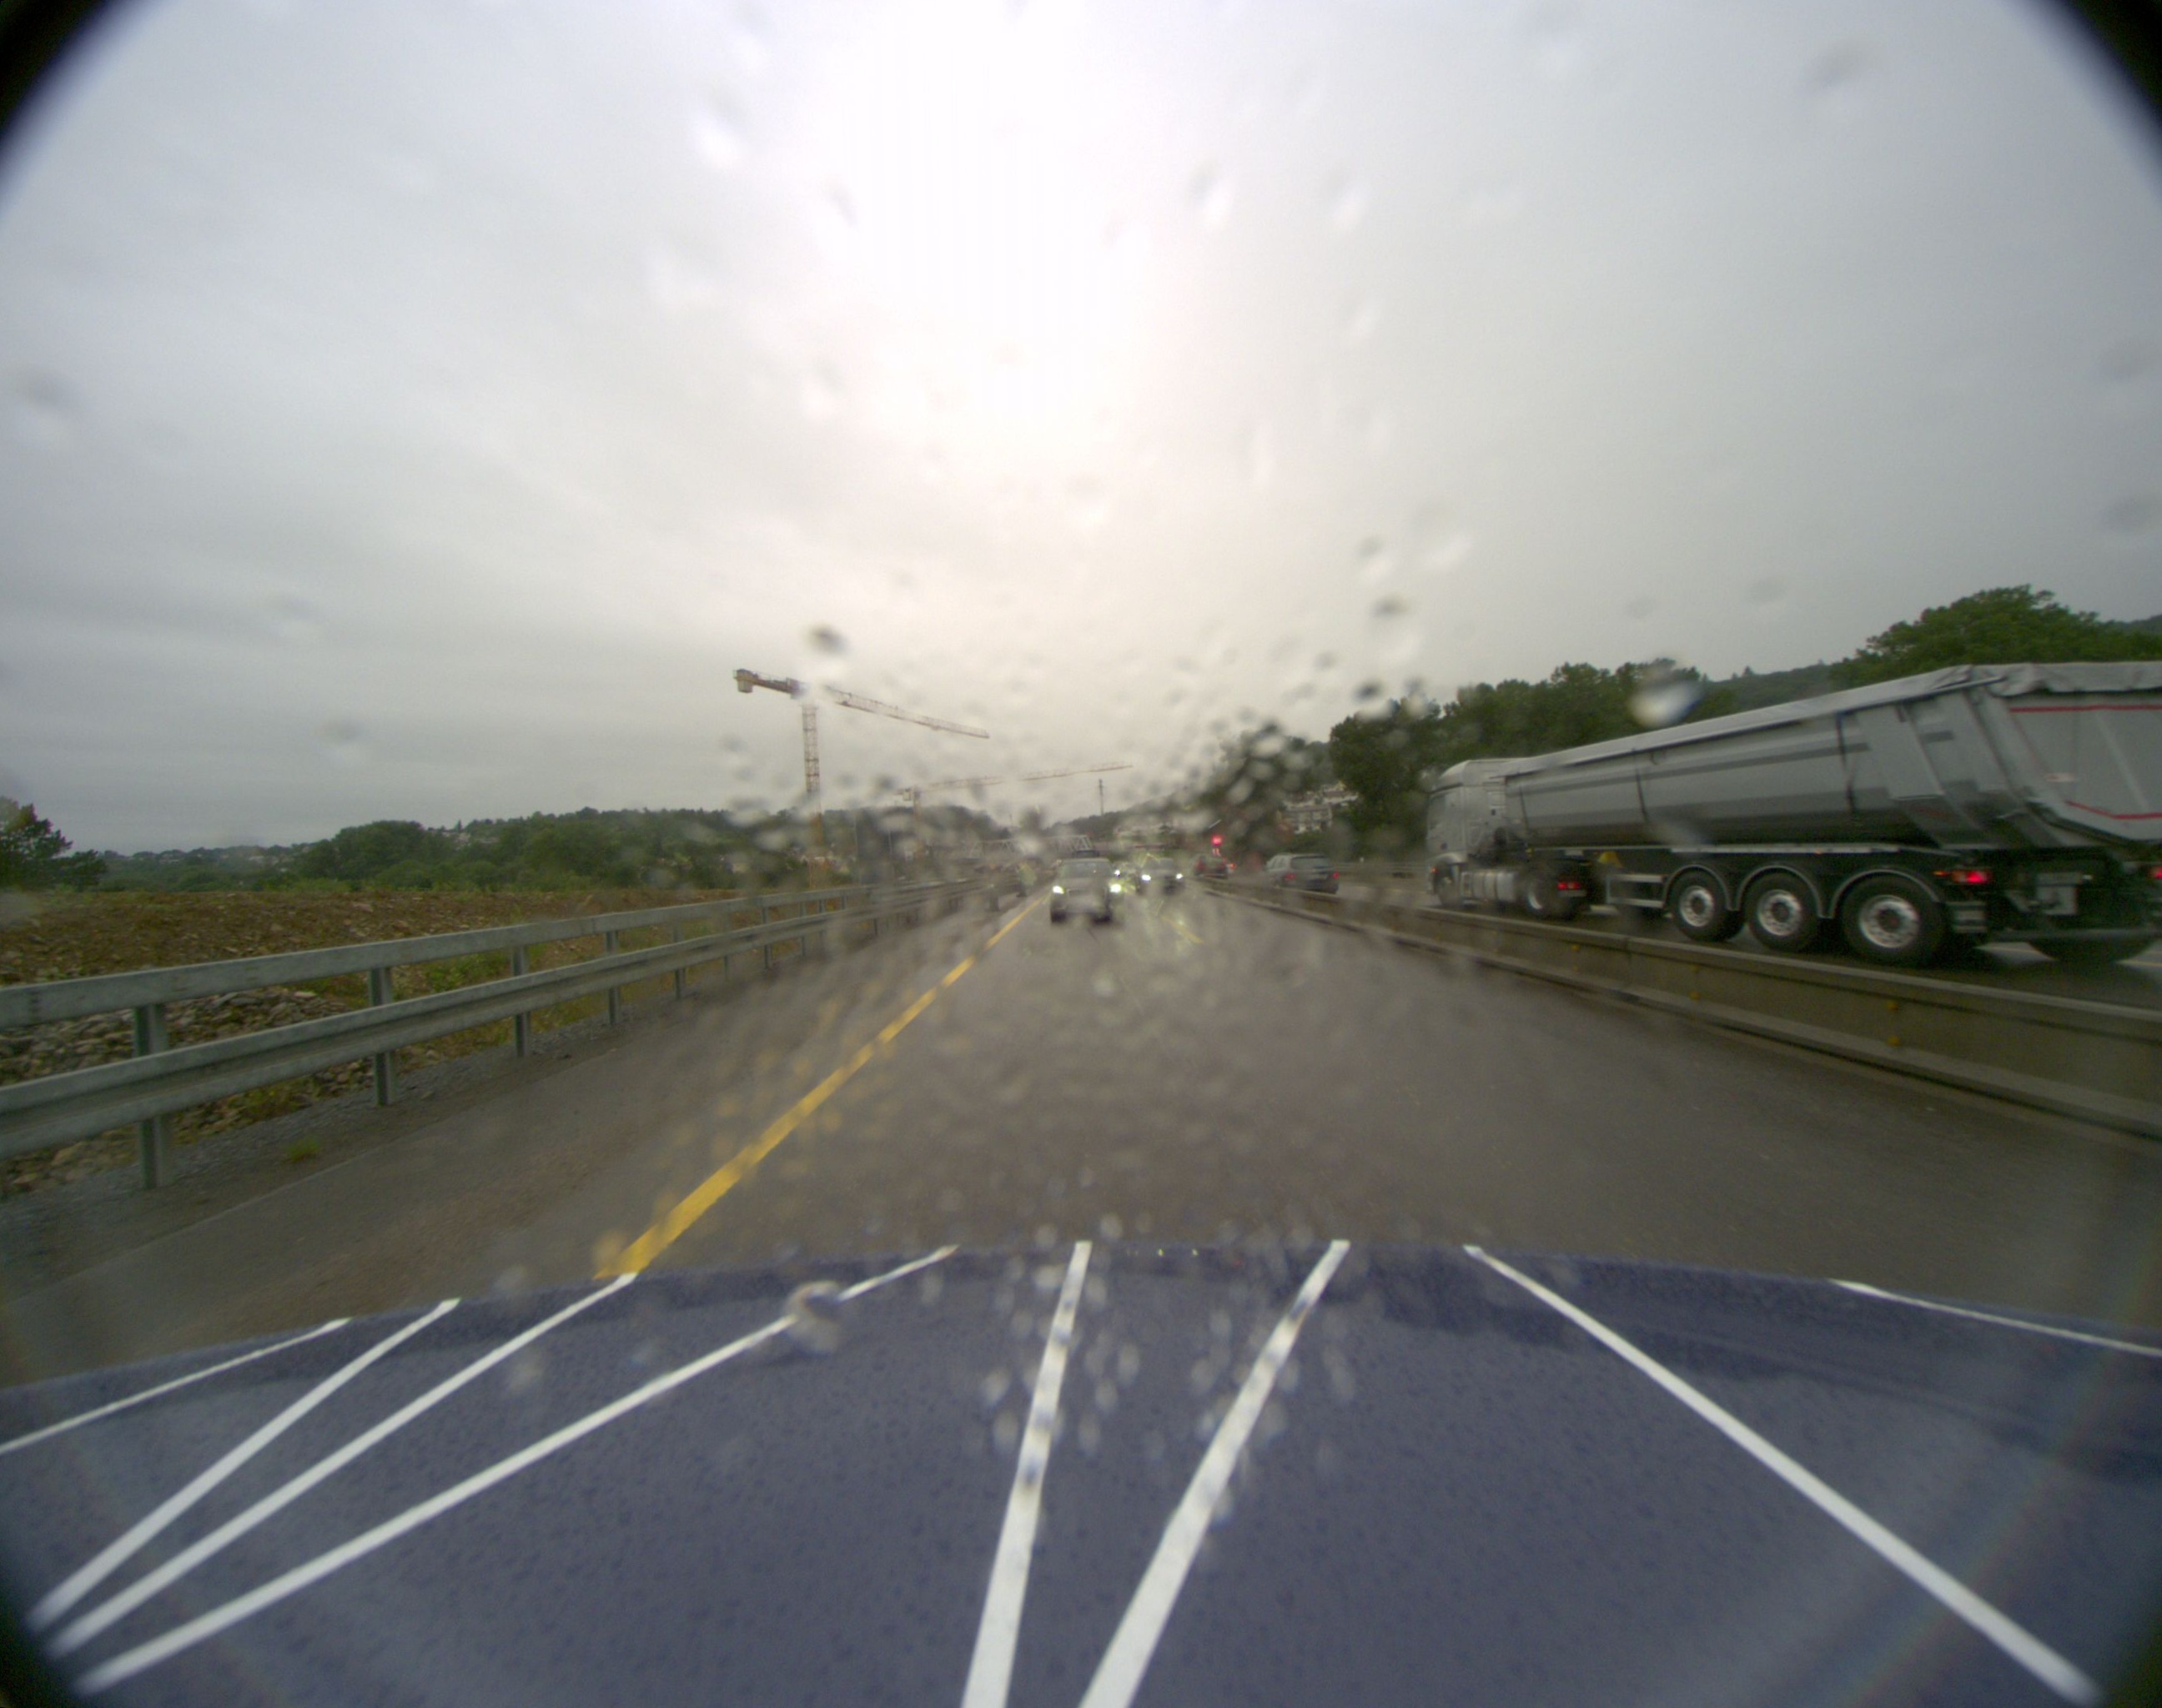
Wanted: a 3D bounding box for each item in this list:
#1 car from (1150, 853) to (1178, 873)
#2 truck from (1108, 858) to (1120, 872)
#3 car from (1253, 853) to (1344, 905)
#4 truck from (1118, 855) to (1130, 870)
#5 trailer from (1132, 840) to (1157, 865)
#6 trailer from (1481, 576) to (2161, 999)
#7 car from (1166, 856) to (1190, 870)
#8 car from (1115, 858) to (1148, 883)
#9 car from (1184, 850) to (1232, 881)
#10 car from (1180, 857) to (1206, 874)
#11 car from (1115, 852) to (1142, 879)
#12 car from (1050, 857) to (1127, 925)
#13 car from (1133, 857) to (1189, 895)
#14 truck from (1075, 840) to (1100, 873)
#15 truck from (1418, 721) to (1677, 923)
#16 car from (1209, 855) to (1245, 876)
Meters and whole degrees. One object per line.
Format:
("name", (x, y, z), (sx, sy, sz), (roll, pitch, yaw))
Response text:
("car", (7.425, 0.875, 68.487), (1.850, 1.737, 4.845), (0, -1, -1))
("truck", (7.706, 2.584, 178.410), (2.413, 2.976, 6.539), (-2, 0, 1))
("car", (6.829, 0.736, 24.235), (1.714, 1.445, 4.000), (-2, 0, 0))
("truck", (10.760, 2.145, 191.291), (2.608, 3.605, 6.539), (-2, 0, 1))
("trailer", (10.991, -0.171, 132.346), (3.285, 3.885, 13.701), (-2, -1, 1))
("trailer", (10.278, -0.620, 12.023), (2.693, 3.940, 9.819), (-1, 0, 0))
("car", (11.371, 1.109, 89.443), (1.999, 1.501, 4.746), (-2, -1, -2))
("car", (3.151, 0.989, 47.757), (1.781, 1.430, 4.484), (-2, 0, 1))
("car", (7.222, 0.628, 43.479), (1.998, 1.645, 4.470), (-1, 0, 0))
("car", (10.558, 1.121, 71.920), (1.825, 1.487, 4.001), (-2, -1, -1))
("car", (3.792, 0.890, 60.345), (1.998, 2.001, 4.002), (-2, -1, 4))
("car", (0.200, 0.896, 20.219), (1.781, 1.514, 4.140), (-2, 0, 1))
("car", (3.345, 0.885, 32.595), (1.951, 1.430, 4.484), (-2, 0, 1))
("truck", (0.728, 0.254, 86.137), (2.576, 3.450, 6.627), (-2, 0, 1))
("truck", (10.266, -0.616, 17.444), (2.693, 3.904, 5.273), (-1, 0, 0))
("car", (11.494, 0.924, 60.083), (1.851, 1.567, 4.270), (0, -1, -4))
